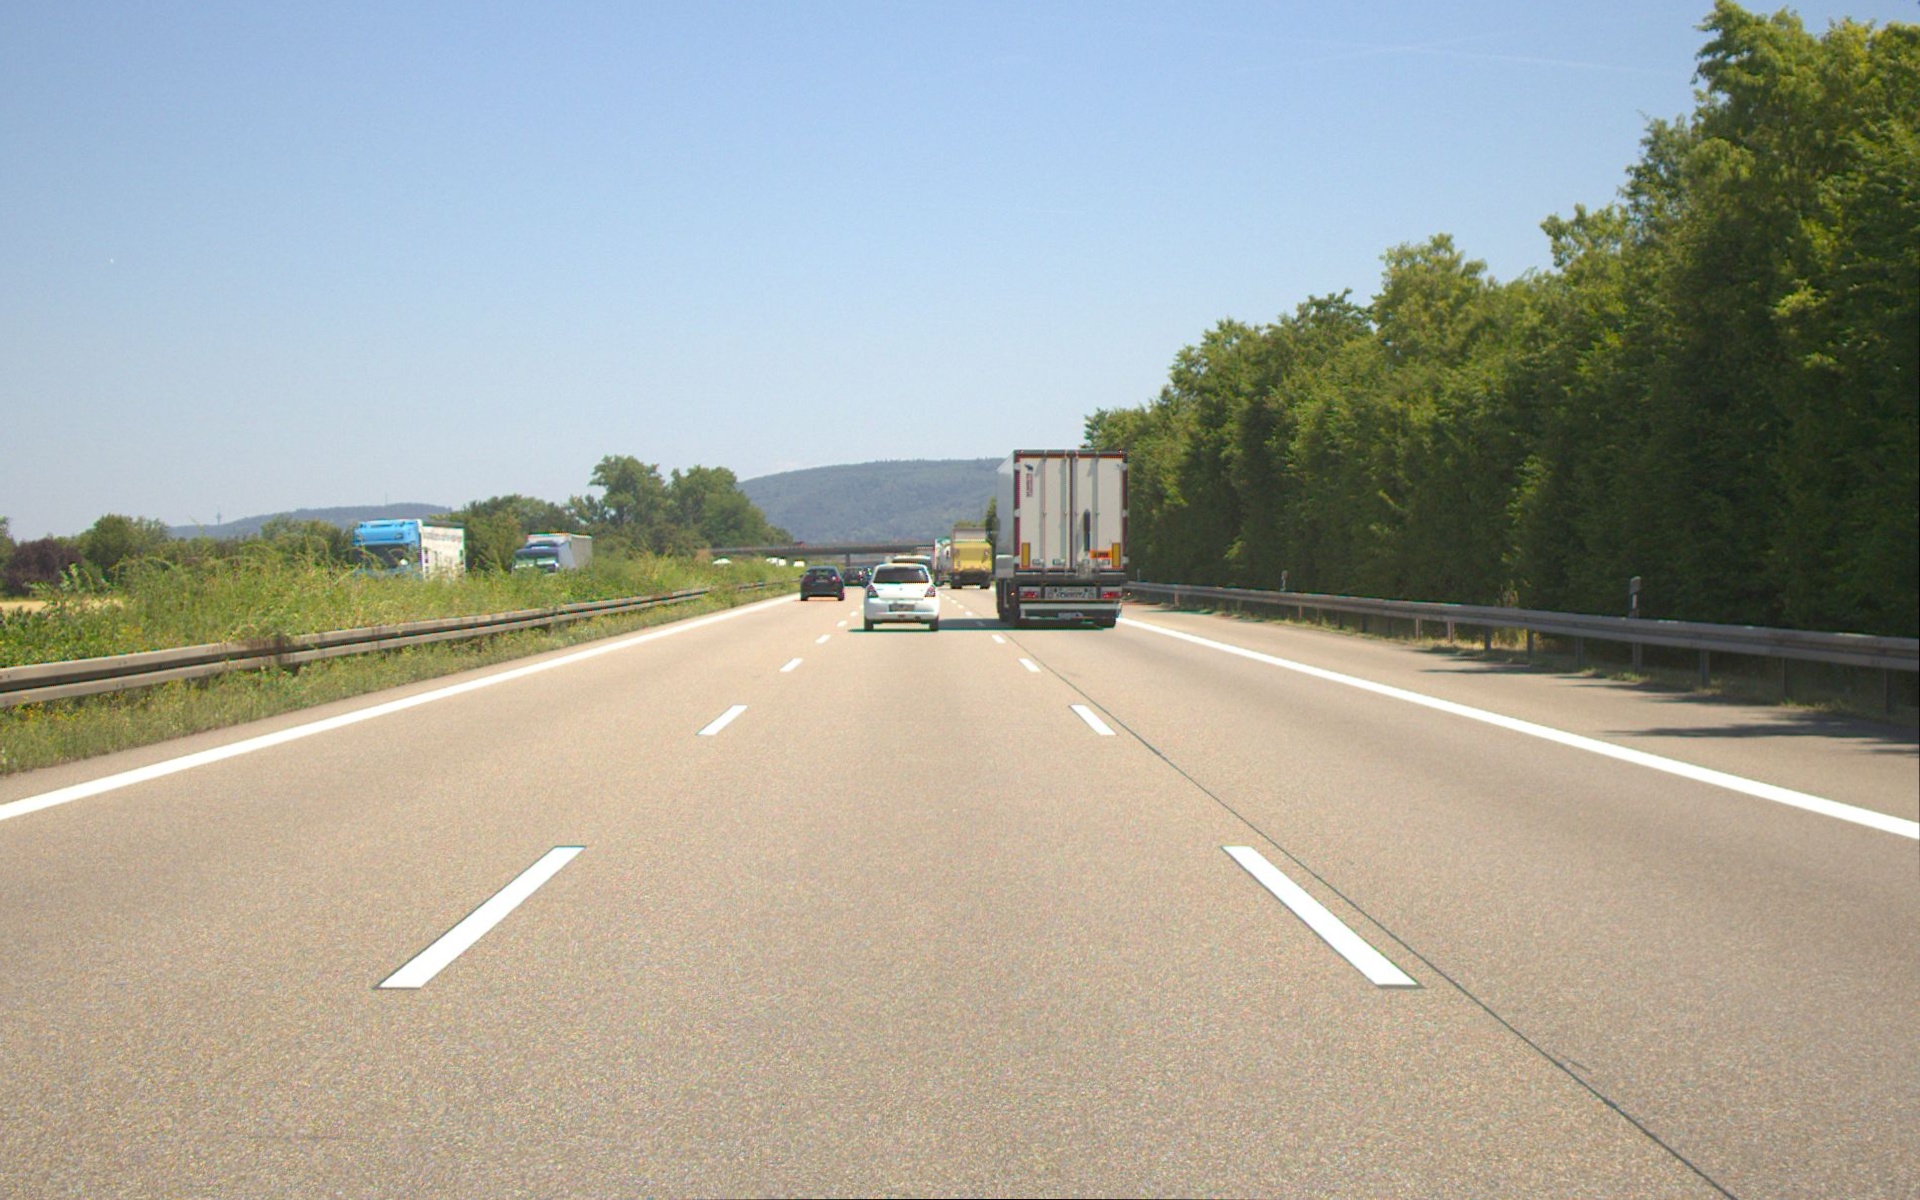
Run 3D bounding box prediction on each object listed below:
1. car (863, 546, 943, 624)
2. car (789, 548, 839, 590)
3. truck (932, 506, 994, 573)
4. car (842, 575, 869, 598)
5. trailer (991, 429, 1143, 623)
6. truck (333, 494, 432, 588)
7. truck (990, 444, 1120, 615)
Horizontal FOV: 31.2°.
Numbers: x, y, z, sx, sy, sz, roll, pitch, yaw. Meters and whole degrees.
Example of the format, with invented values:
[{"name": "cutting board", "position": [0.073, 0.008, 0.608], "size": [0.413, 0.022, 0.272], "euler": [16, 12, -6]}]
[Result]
[{"name": "car", "position": [-1.312, -0.363, 77.976], "size": [1.732, 1.678, 4.000], "euler": [-1, 1, -2]}, {"name": "car", "position": [-6.110, -1.309, 143.991], "size": [1.993, 1.706, 4.000], "euler": [1, 1, -2]}, {"name": "truck", "position": [0.141, -4.008, 230.448], "size": [3.871, 4.330, 13.861], "euler": [1, 1, -1]}, {"name": "car", "position": [-7.166, -0.944, 237.047], "size": [1.795, 1.545, 4.000], "euler": [0, 0, -1]}, {"name": "trailer", "position": [2.483, -1.760, 84.370], "size": [3.218, 4.330, 13.629], "euler": [1, 1, 0]}, {"name": "truck", "position": [-23.123, -2.359, 137.868], "size": [3.110, 3.686, 5.198], "euler": [1, 1, -1]}, {"name": "truck", "position": [2.472, -1.854, 91.491], "size": [3.218, 4.330, 6.591], "euler": [1, 1, 0]}]
